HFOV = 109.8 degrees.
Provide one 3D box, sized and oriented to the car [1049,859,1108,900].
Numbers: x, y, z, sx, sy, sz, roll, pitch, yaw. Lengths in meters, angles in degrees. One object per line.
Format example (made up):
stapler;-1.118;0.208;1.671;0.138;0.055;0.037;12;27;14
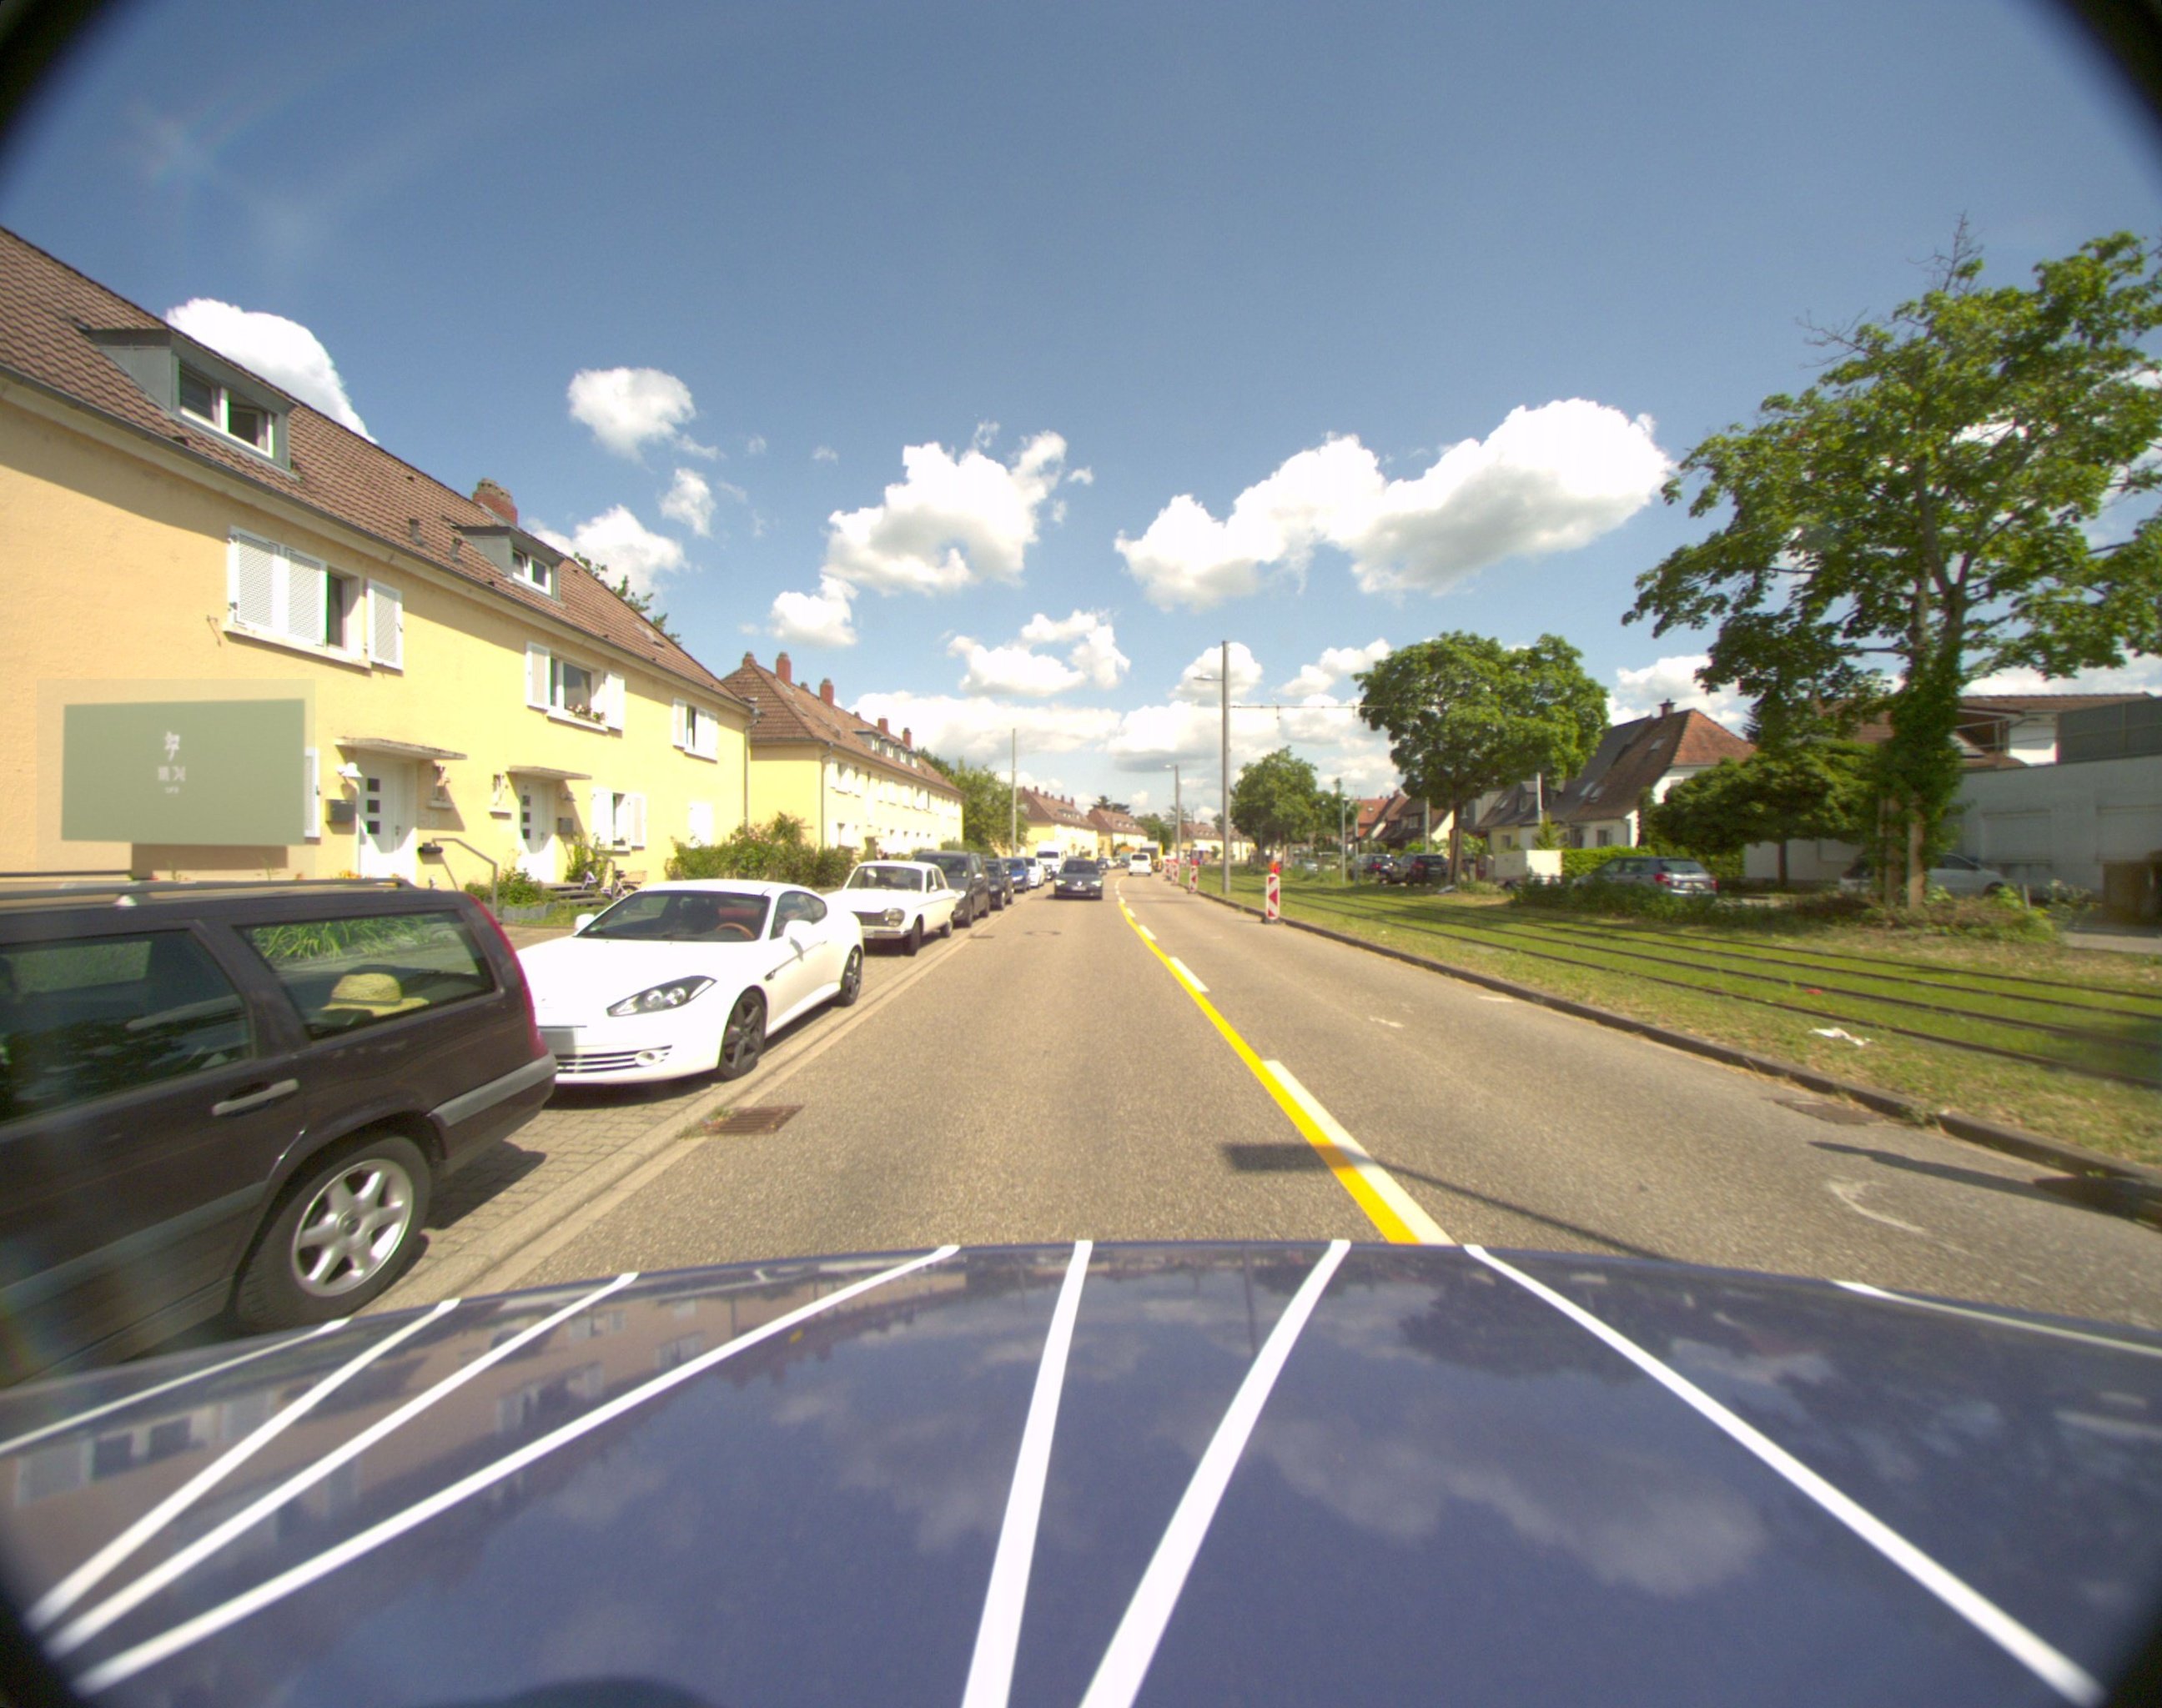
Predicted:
car;-0.020;0.927;28.914;1.785;1.412;4.292;0;0;6

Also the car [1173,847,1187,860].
car;15.997;-0.147;122.685;1.839;2.043;3.872;1;0;13

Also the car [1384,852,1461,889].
car;16.376;0.812;36.673;1.910;1.568;4.102;4;-1;2

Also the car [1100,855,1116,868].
car;3.252;0.860;91.683;1.512;1.490;3.577;1;0;9

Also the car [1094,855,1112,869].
car;2.508;0.916;86.933;1.512;1.490;3.577;1;1;10

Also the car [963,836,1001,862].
car;-6.944;-0.353;53.766;1.926;1.736;4.048;1;0;4

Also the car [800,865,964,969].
car;-3.188;0.939;13.011;1.654;1.410;4.026;1;0;1

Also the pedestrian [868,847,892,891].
pedestrian;-7.651;0.566;28.908;0.617;1.629;0.900;2;1;1

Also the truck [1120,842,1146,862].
truck;8.000;-0.276;114.955;2.529;2.931;7.869;1;1;14

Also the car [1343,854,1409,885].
car;16.237;0.827;42.016;1.998;1.531;4.322;1;1;1

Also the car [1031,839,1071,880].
car;-1.910;0.349;50.126;1.923;2.522;5.346;1;0;5

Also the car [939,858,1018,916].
car;-2.938;0.894;22.644;1.689;1.429;4.515;2;1;1

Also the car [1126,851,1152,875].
car;4.945;0.729;65.589;1.944;1.931;4.562;2;0;2

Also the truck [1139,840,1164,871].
truck;8.033;0.175;86.523;2.702;3.346;8.053;1;0;5

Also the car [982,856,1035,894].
car;-2.968;0.833;31.887;1.702;1.421;3.898;2;1;1

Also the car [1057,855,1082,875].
car;-0.839;0.834;59.190;1.513;1.490;3.408;1;1;6

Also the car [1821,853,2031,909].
car;24.966;0.800;22.563;3.997;1.518;2.001;1;-2;0

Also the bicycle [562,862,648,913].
bicycle;-10.475;0.736;16.738;1.693;1.096;0.290;0;0;0

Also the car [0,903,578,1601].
car;-3.269;0.953;1.166;1.725;1.394;4.837;1;0;1

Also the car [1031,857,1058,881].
car;-2.157;0.863;45.434;1.358;1.299;3.543;1;0;1

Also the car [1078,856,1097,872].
car;0.698;0.997;74.626;1.513;1.490;3.408;1;1;6

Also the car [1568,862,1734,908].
car;15.767;0.811;21.303;1.785;1.087;3.836;1;1;0

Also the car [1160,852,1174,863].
car;12.416;0.529;109.322;1.512;1.490;3.578;1;0;13

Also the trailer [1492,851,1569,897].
trailer;15.624;0.663;26.509;1.302;1.510;2.282;1;0;0

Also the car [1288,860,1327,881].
car;17.966;1.269;60.541;1.998;1.531;4.323;1;1;3

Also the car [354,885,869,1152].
car;-3.210;1.011;6.325;1.725;1.287;4.128;1;0;0

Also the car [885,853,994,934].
car;-3.117;0.798;17.560;1.683;1.620;4.270;1;0;0

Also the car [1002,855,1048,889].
car;-2.639;0.820;36.780;1.756;1.480;4.627;2;0;1
